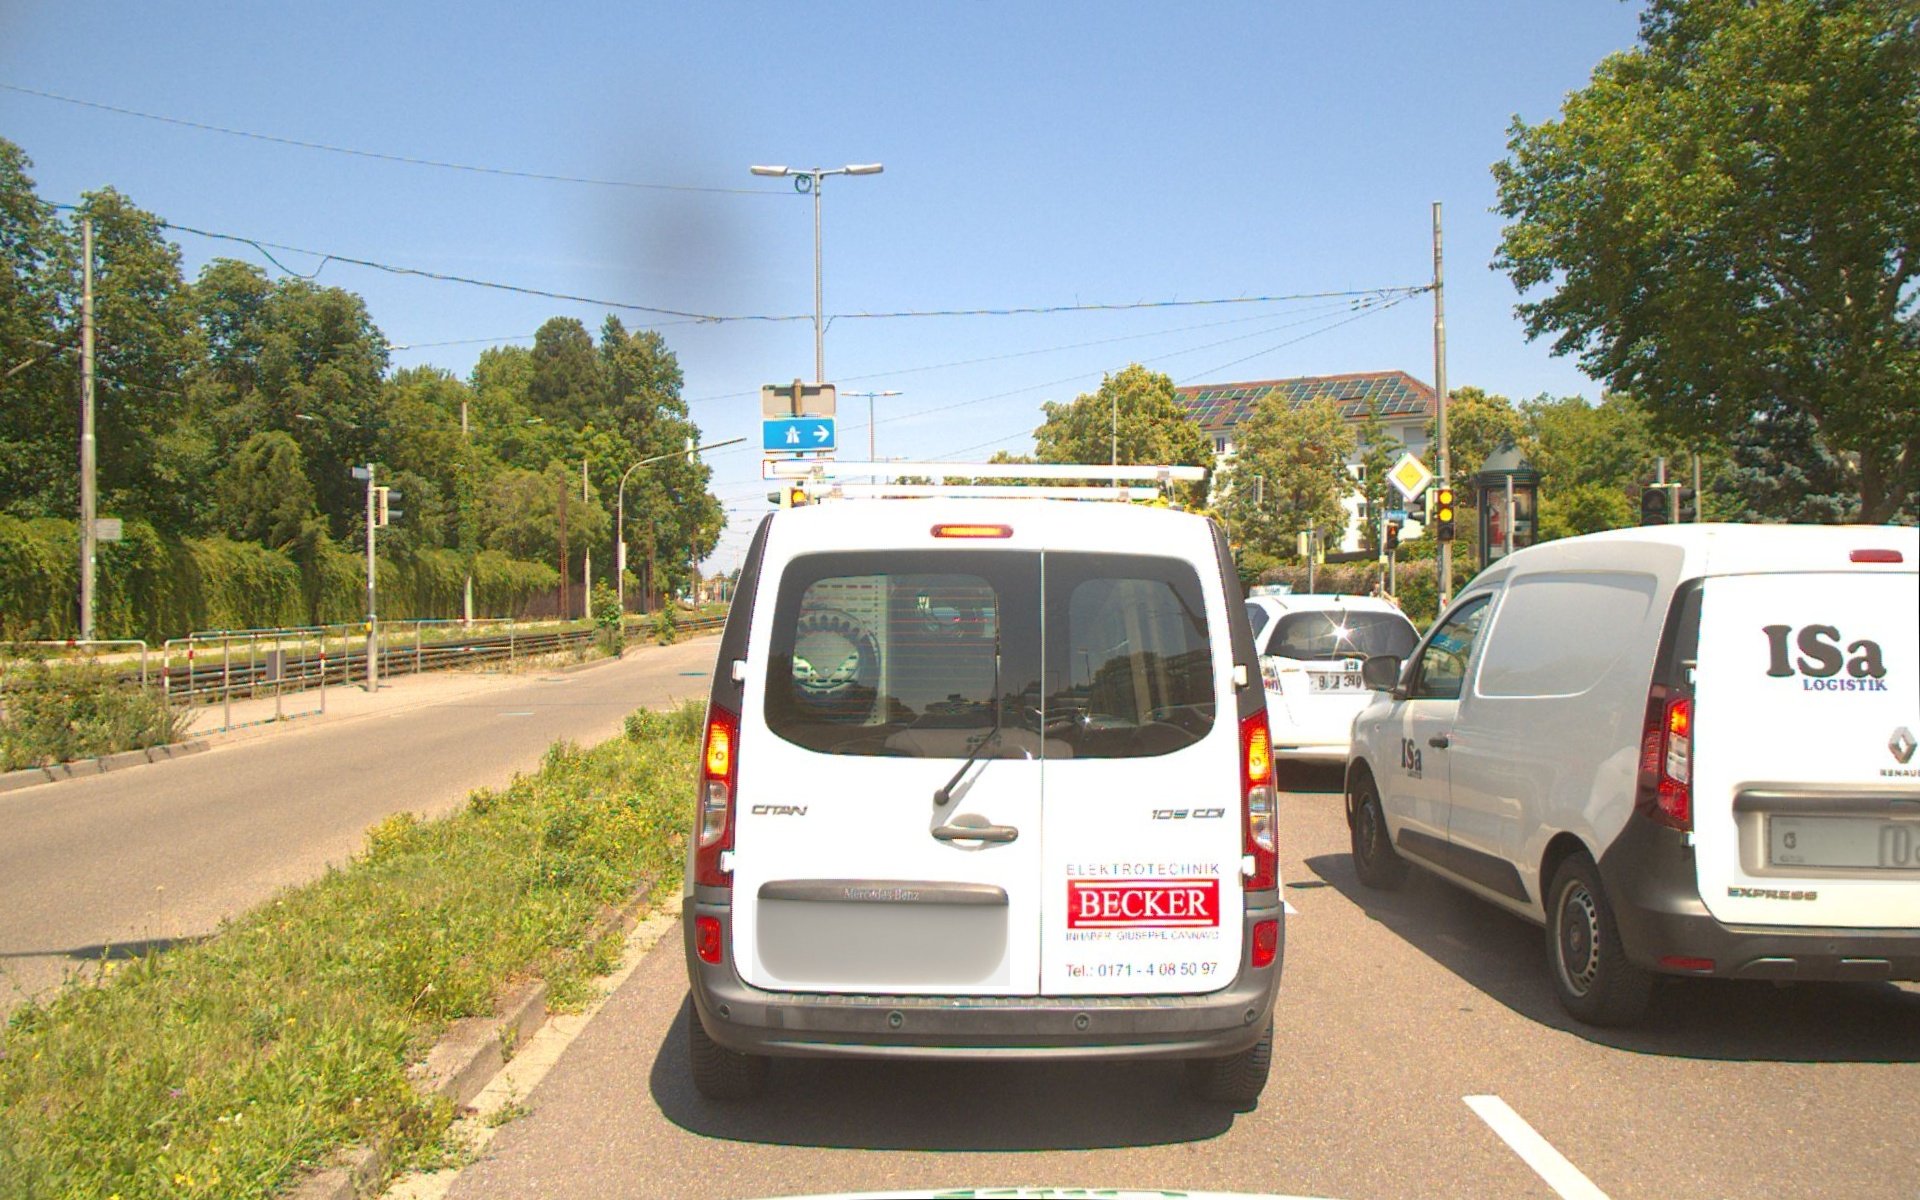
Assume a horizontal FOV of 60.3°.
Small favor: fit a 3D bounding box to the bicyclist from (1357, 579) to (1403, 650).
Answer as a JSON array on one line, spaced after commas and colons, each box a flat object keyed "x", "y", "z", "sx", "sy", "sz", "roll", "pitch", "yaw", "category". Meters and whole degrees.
[{"x": 10.940, "y": 0.372, "z": 43.133, "sx": 0.955, "sy": 1.819, "sz": 0.725, "roll": 0, "pitch": 0, "yaw": -9, "category": "bicyclist"}]

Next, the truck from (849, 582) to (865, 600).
[{"x": -15.574, "y": -1.414, "z": 250.825, "sx": 2.095, "sy": 2.633, "sz": 5.888, "roll": 1, "pitch": 0, "yaw": -1, "category": "truck"}]

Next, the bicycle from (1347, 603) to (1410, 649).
[{"x": 10.903, "y": 0.669, "z": 43.153, "sx": 0.875, "sy": 1.179, "sz": 1.952, "roll": 0, "pitch": 0, "yaw": -9, "category": "bicycle"}]

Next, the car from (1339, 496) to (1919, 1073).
[{"x": 3.050, "y": 0.594, "z": 7.300, "sx": 1.693, "sy": 1.819, "sz": 4.063, "roll": 1, "pitch": 0, "yaw": -2, "category": "car"}]

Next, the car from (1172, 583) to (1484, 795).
[{"x": 3.078, "y": 0.662, "z": 14.665, "sx": 1.798, "sy": 1.596, "sz": 3.999, "roll": 1, "pitch": 1, "yaw": -1, "category": "car"}]

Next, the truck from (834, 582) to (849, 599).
[{"x": -18.557, "y": -1.430, "z": 259.210, "sx": 2.095, "sy": 2.633, "sz": 5.888, "roll": 1, "pitch": 0, "yaw": -1, "category": "truck"}]

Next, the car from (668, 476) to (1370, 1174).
[{"x": 0.124, "y": 0.574, "z": 6.418, "sx": 1.784, "sy": 1.770, "sz": 4.395, "roll": 0, "pitch": 0, "yaw": -1, "category": "car"}]
